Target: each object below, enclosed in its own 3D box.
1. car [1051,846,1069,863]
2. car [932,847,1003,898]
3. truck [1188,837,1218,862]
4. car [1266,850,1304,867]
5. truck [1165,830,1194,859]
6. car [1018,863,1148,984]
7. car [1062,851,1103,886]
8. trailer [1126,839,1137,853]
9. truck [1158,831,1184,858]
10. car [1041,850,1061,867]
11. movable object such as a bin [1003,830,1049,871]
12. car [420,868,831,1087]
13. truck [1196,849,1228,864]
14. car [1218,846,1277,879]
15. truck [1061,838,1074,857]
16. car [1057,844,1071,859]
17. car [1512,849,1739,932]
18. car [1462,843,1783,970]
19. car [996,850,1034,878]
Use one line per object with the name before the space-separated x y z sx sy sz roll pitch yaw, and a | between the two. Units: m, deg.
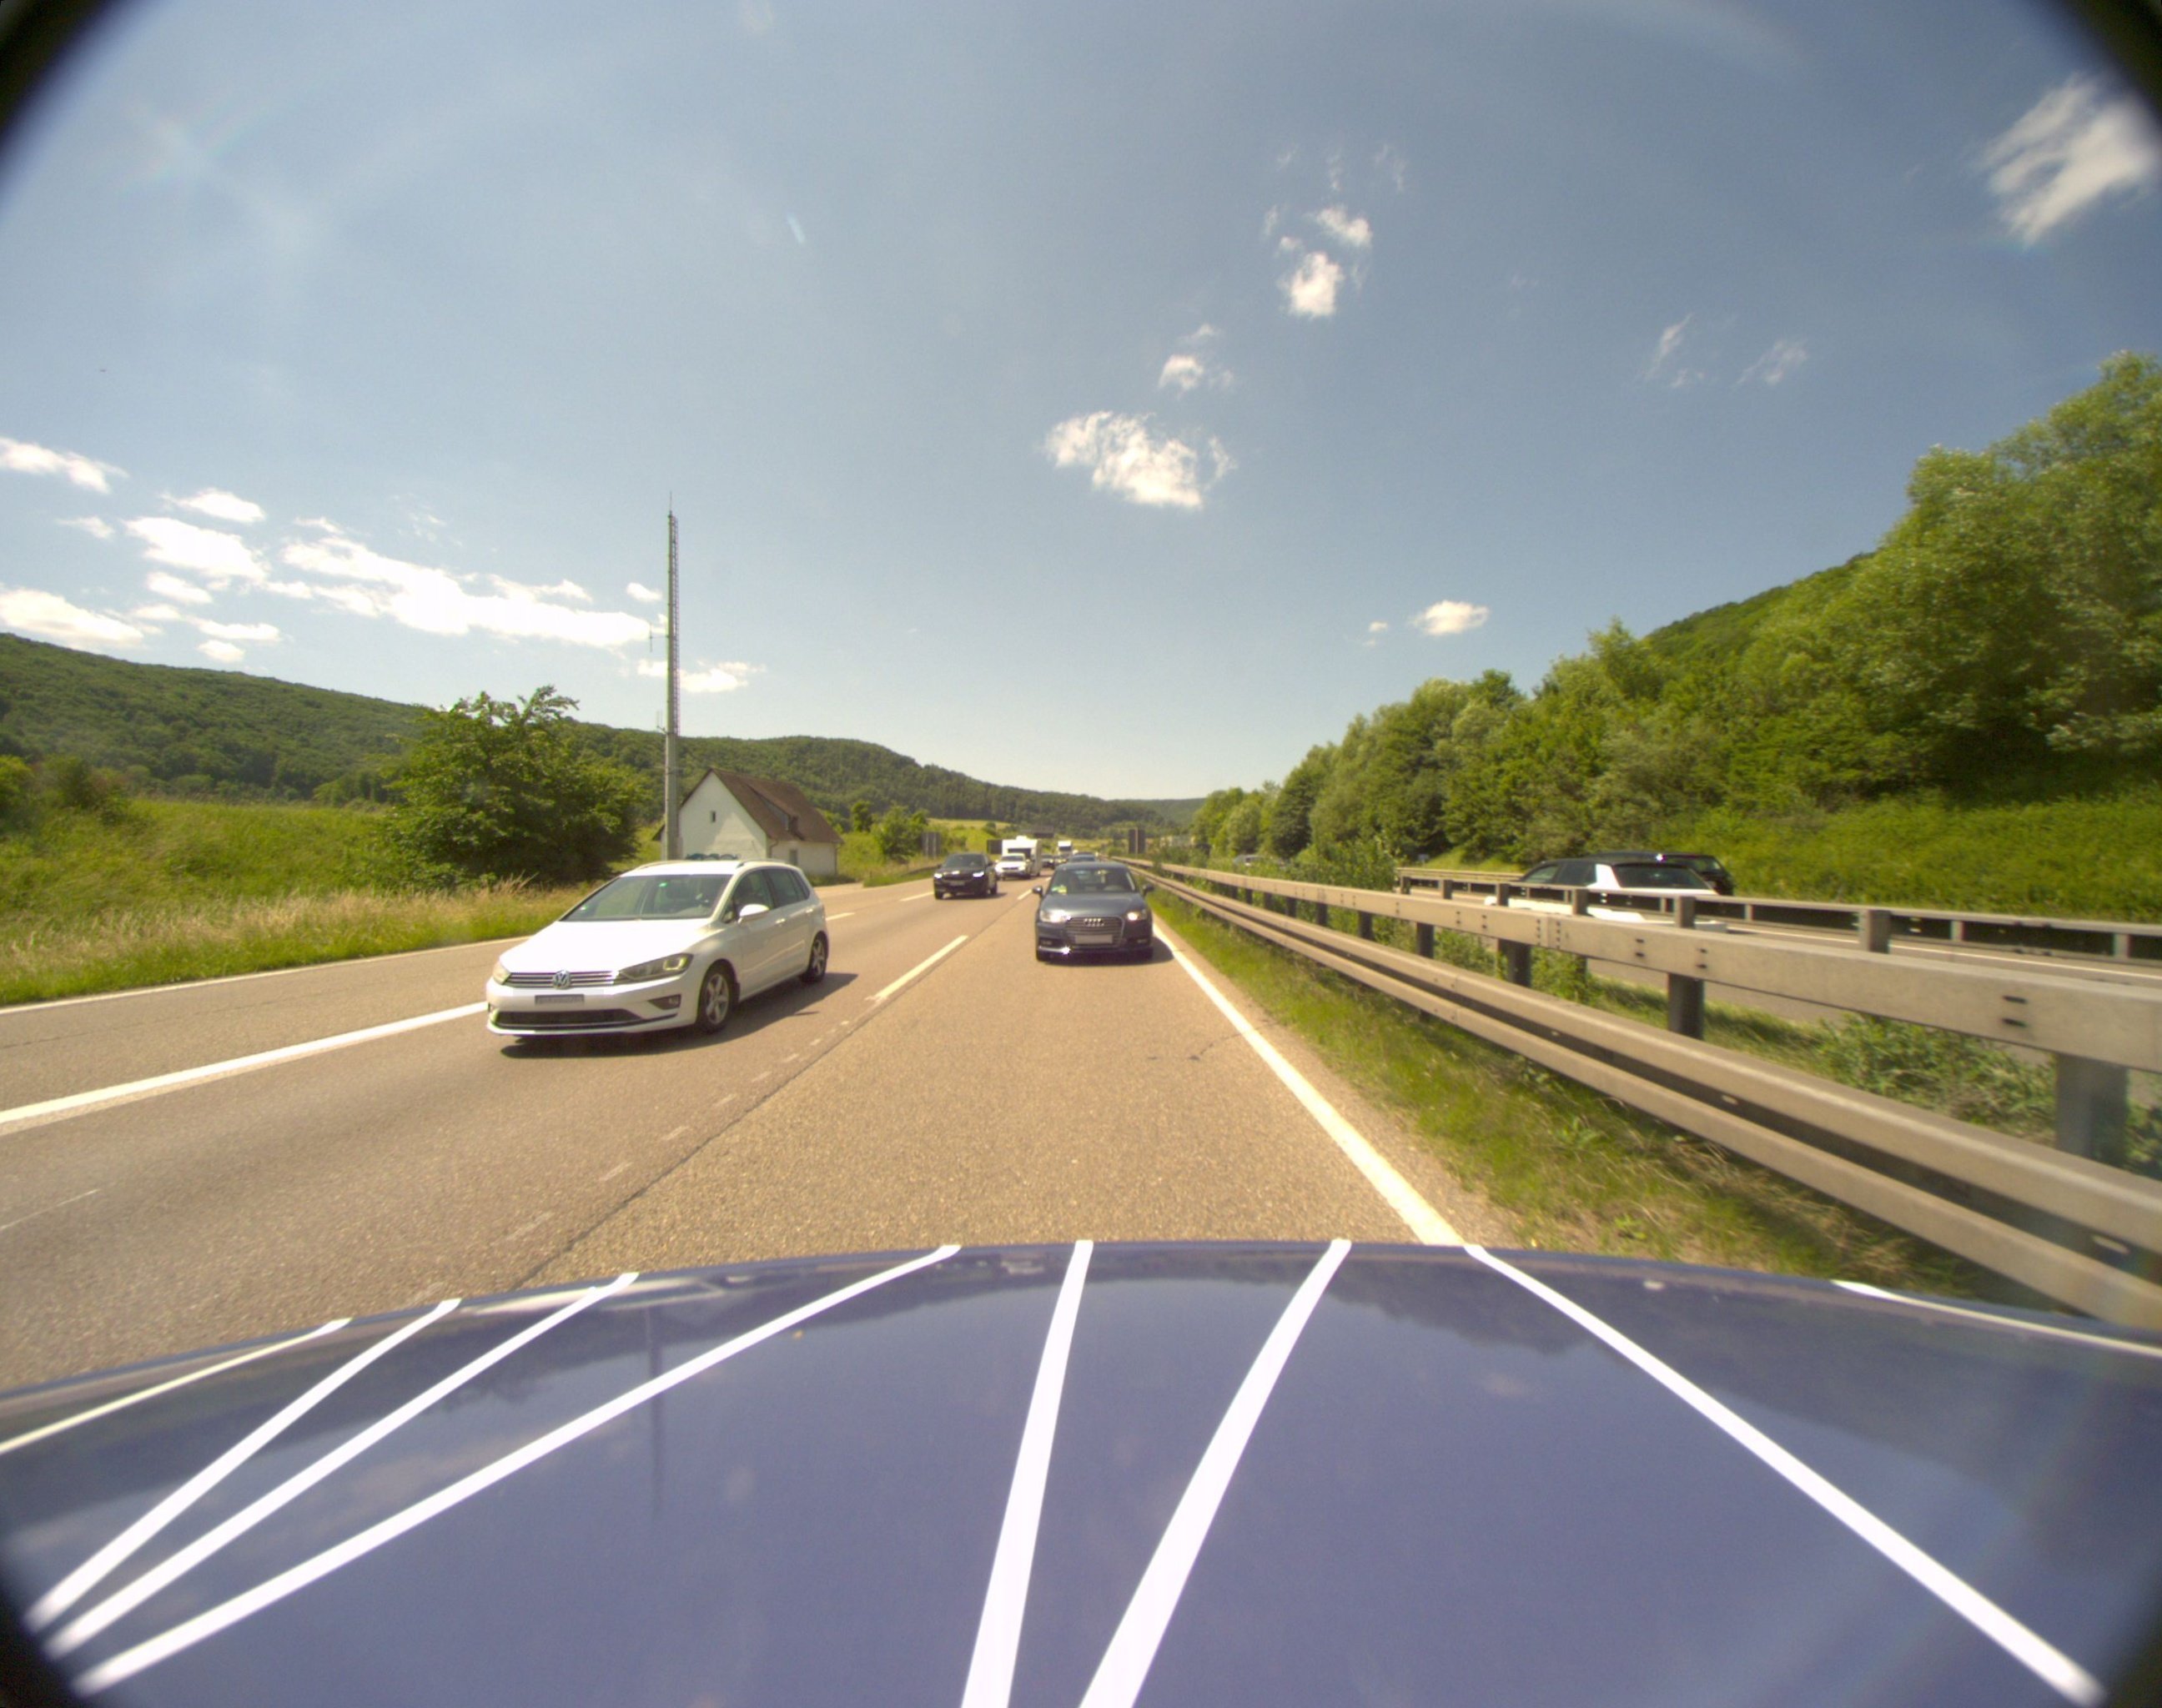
car | -2.553 0.007 91.927 1.999 2.002 3.998 -1 1 -4
car | -4.088 0.620 28.041 1.893 1.762 4.171 0 0 2
truck | 13.142 -0.509 82.141 2.301 2.573 7.968 -1 1 3
car | 16.965 0.368 63.230 1.999 1.348 4.106 -1 1 -1
truck | 14.095 -1.331 109.267 2.876 3.958 9.030 1 1 0
car | 0.165 0.889 11.442 1.591 1.402 4.001 -1 1 4
car | 0.126 0.657 37.062 1.835 1.586 4.000 0 0 2
trailer | 15.167 -2.458 229.342 2.789 3.976 14.160 0 0 1
truck | 14.056 -1.420 118.872 2.876 3.983 10.169 -1 1 0
car | -2.865 0.438 72.962 1.711 1.542 4.000 0 0 1
movable object such as a bin | -3.729 -0.247 52.842 2.481 2.616 6.708 -1 1 1
car | -4.144 0.987 7.838 1.777 1.532 4.053 -1 1 -1
truck | 12.796 0.220 74.647 2.214 1.326 7.010 0 1 3
car | 8.266 0.367 38.072 1.998 1.510 4.677 -1 1 1
truck | -2.655 -1.321 149.542 2.336 3.623 7.005 -1 1 1
car | -2.432 -0.397 109.272 1.998 2.002 3.999 -1 1 0
car | 12.049 0.706 17.299 1.927 1.612 4.560 0 1 1
car | 8.086 0.655 11.985 1.998 1.605 4.273 1 1 1
car | -3.944 0.559 45.800 1.821 1.574 4.000 -1 1 1
